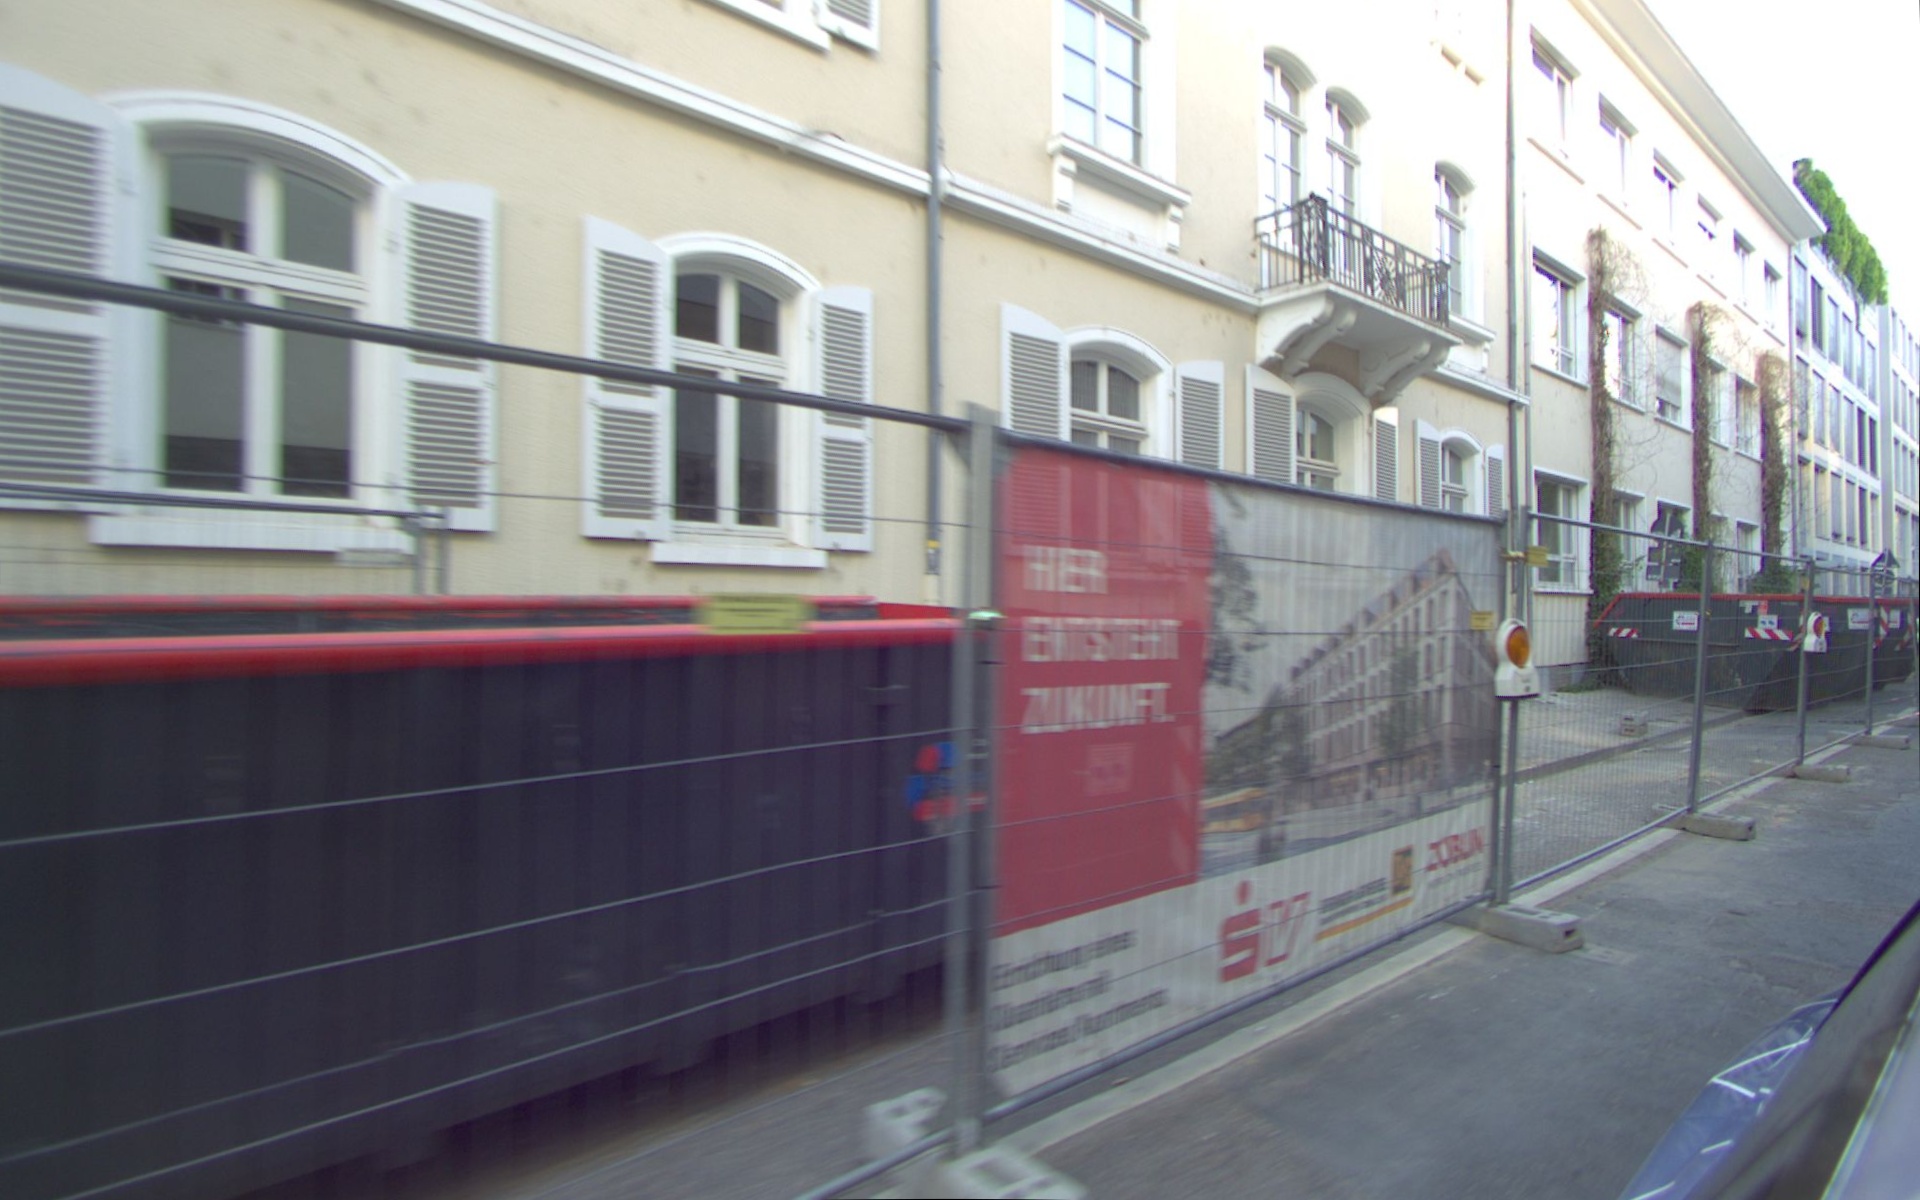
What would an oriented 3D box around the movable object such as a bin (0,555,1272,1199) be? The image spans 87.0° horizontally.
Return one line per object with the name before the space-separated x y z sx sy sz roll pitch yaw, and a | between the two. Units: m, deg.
movable object such as a bin | -2.290 0.774 3.020 7.422 1.659 2.739 1 -1 -42
